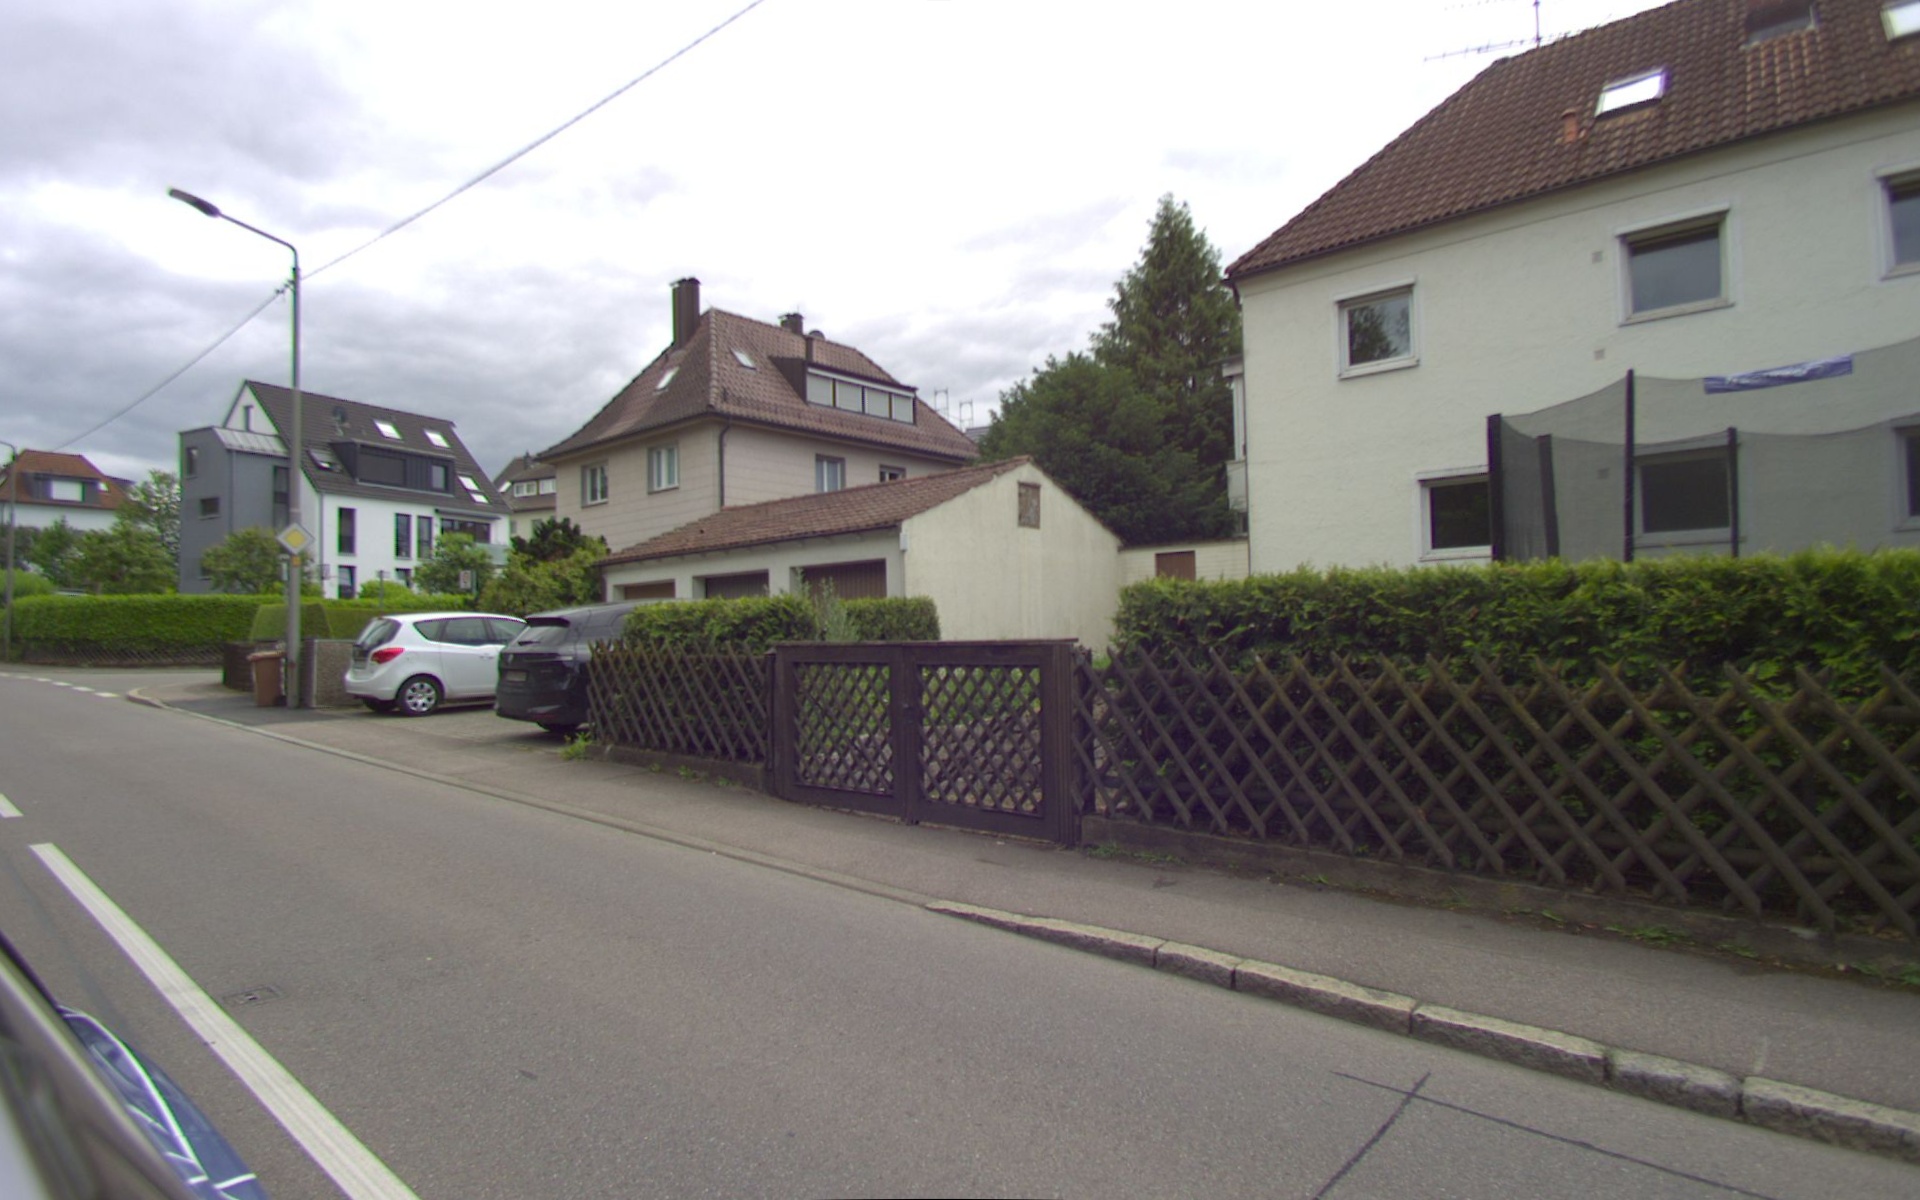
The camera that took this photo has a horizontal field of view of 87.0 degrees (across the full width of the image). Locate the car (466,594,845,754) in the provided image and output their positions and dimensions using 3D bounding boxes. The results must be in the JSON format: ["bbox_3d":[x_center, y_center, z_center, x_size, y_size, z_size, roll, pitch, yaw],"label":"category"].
[{"bbox_3d":[-3.907,0.838,13.721,1.881,1.682,4.624,-1,1,40],"label":"car"}]

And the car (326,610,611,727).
[{"bbox_3d":[-8.170,1.047,17.090,1.718,1.606,3.946,-1,1,41],"label":"car"}]

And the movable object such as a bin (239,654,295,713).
[{"bbox_3d":[-11.971,1.426,17.472,0.572,0.961,0.680,-2,-2,42],"label":"movable object such as a bin"}]
